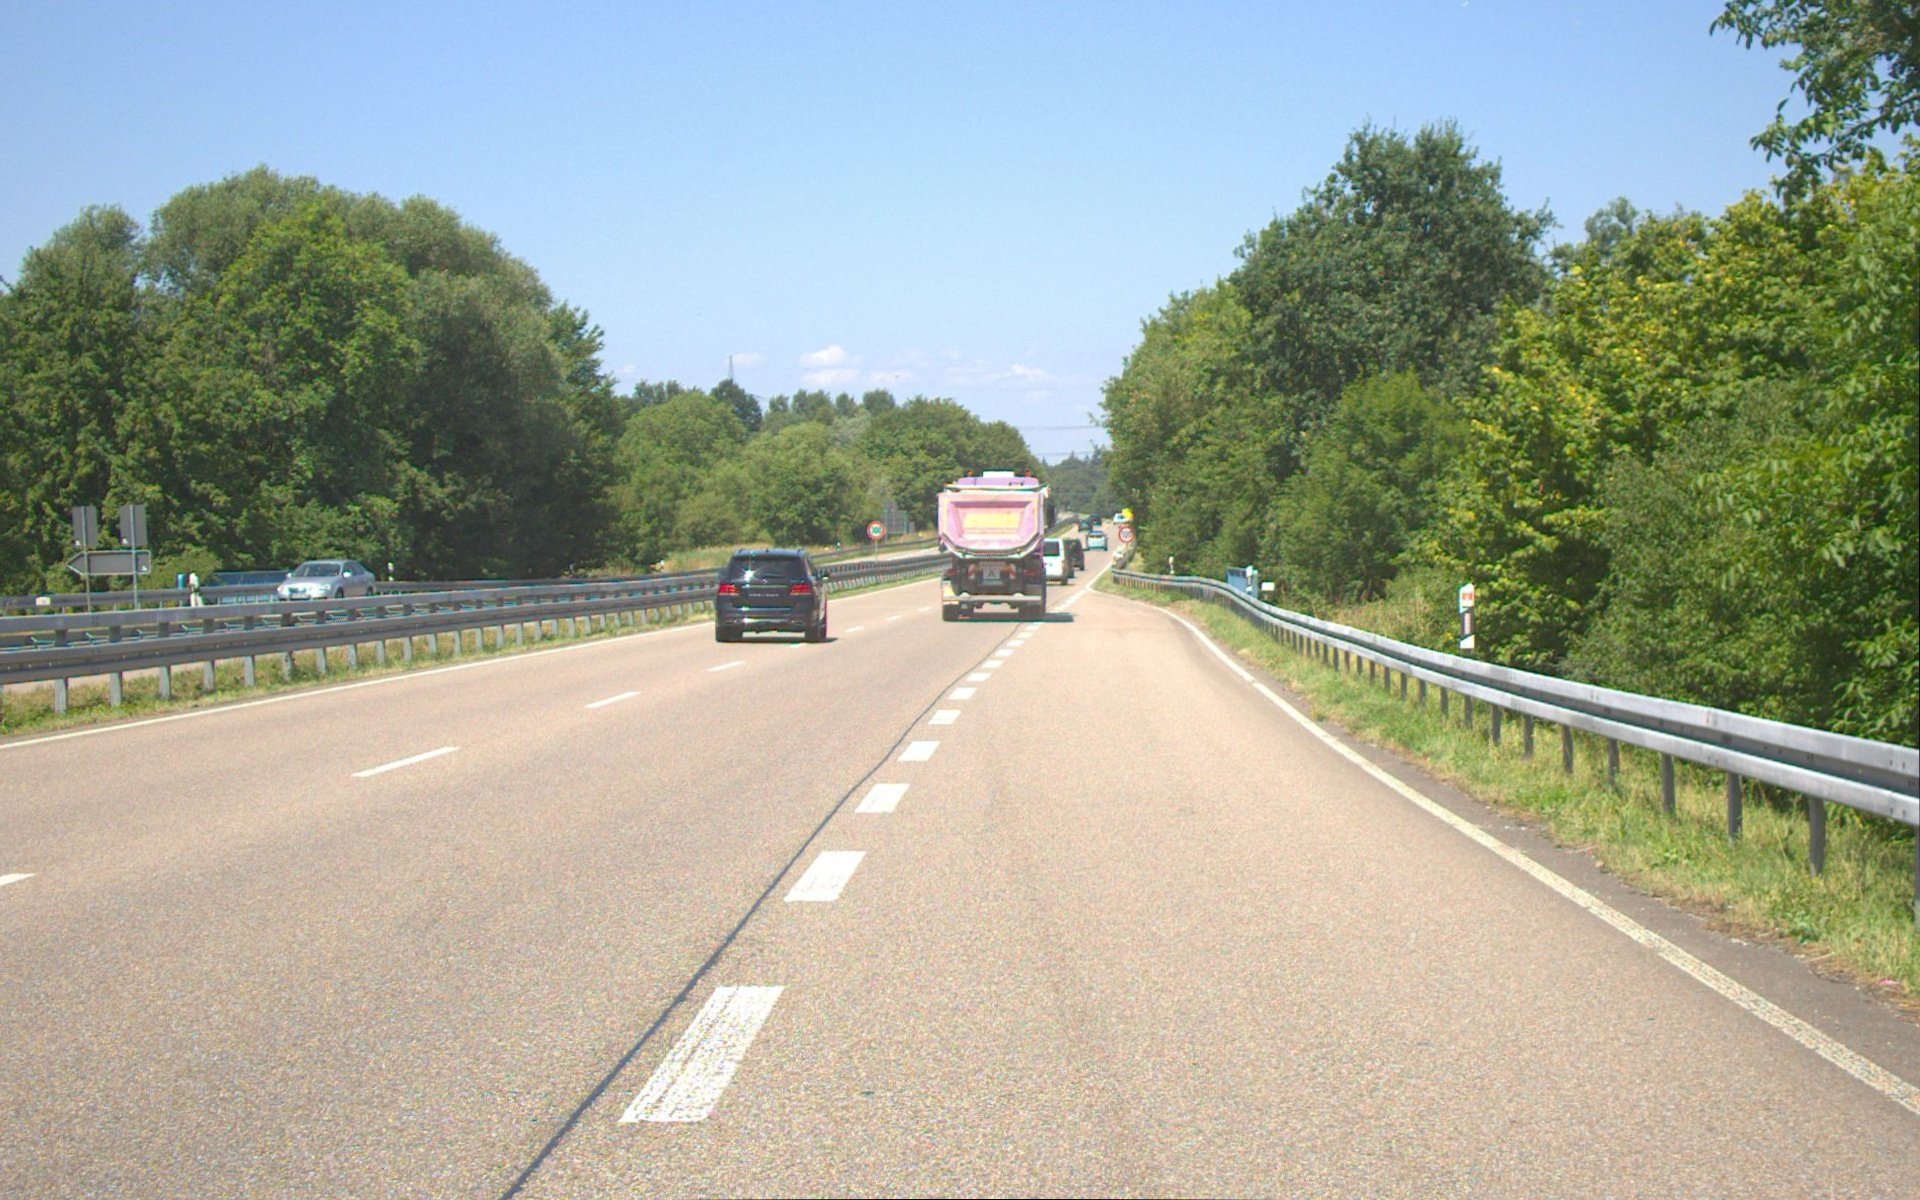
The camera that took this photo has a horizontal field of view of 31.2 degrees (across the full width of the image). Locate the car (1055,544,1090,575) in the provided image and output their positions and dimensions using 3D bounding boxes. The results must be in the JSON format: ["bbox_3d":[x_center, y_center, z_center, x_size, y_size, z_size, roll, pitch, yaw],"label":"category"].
[{"bbox_3d":[6.240,-2.219,190.545,1.857,1.665,4.000,0,0,2],"label":"car"}]

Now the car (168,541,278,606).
[{"bbox_3d":[-17.360,-0.619,81.136,1.918,1.484,4.000,0,0,-3],"label":"car"}]

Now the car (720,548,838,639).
[{"bbox_3d":[-3.385,-0.125,64.881,1.857,1.665,4.000,0,0,2],"label":"car"}]

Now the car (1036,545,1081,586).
[{"bbox_3d":[4.198,-1.450,145.850,1.857,1.665,4.000,0,0,2],"label":"car"}]

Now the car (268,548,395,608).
[{"bbox_3d":[-17.983,-0.649,98.622,1.725,1.639,4.940,1,1,14],"label":"car"}]

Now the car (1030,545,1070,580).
[{"bbox_3d":[4.369,-1.806,165.831,1.857,1.665,4.000,0,0,2],"label":"car"}]

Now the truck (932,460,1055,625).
[{"bbox_3d":[0.976,-1.543,87.940,2.720,3.916,12.370,0,2,3],"label":"truck"}]
